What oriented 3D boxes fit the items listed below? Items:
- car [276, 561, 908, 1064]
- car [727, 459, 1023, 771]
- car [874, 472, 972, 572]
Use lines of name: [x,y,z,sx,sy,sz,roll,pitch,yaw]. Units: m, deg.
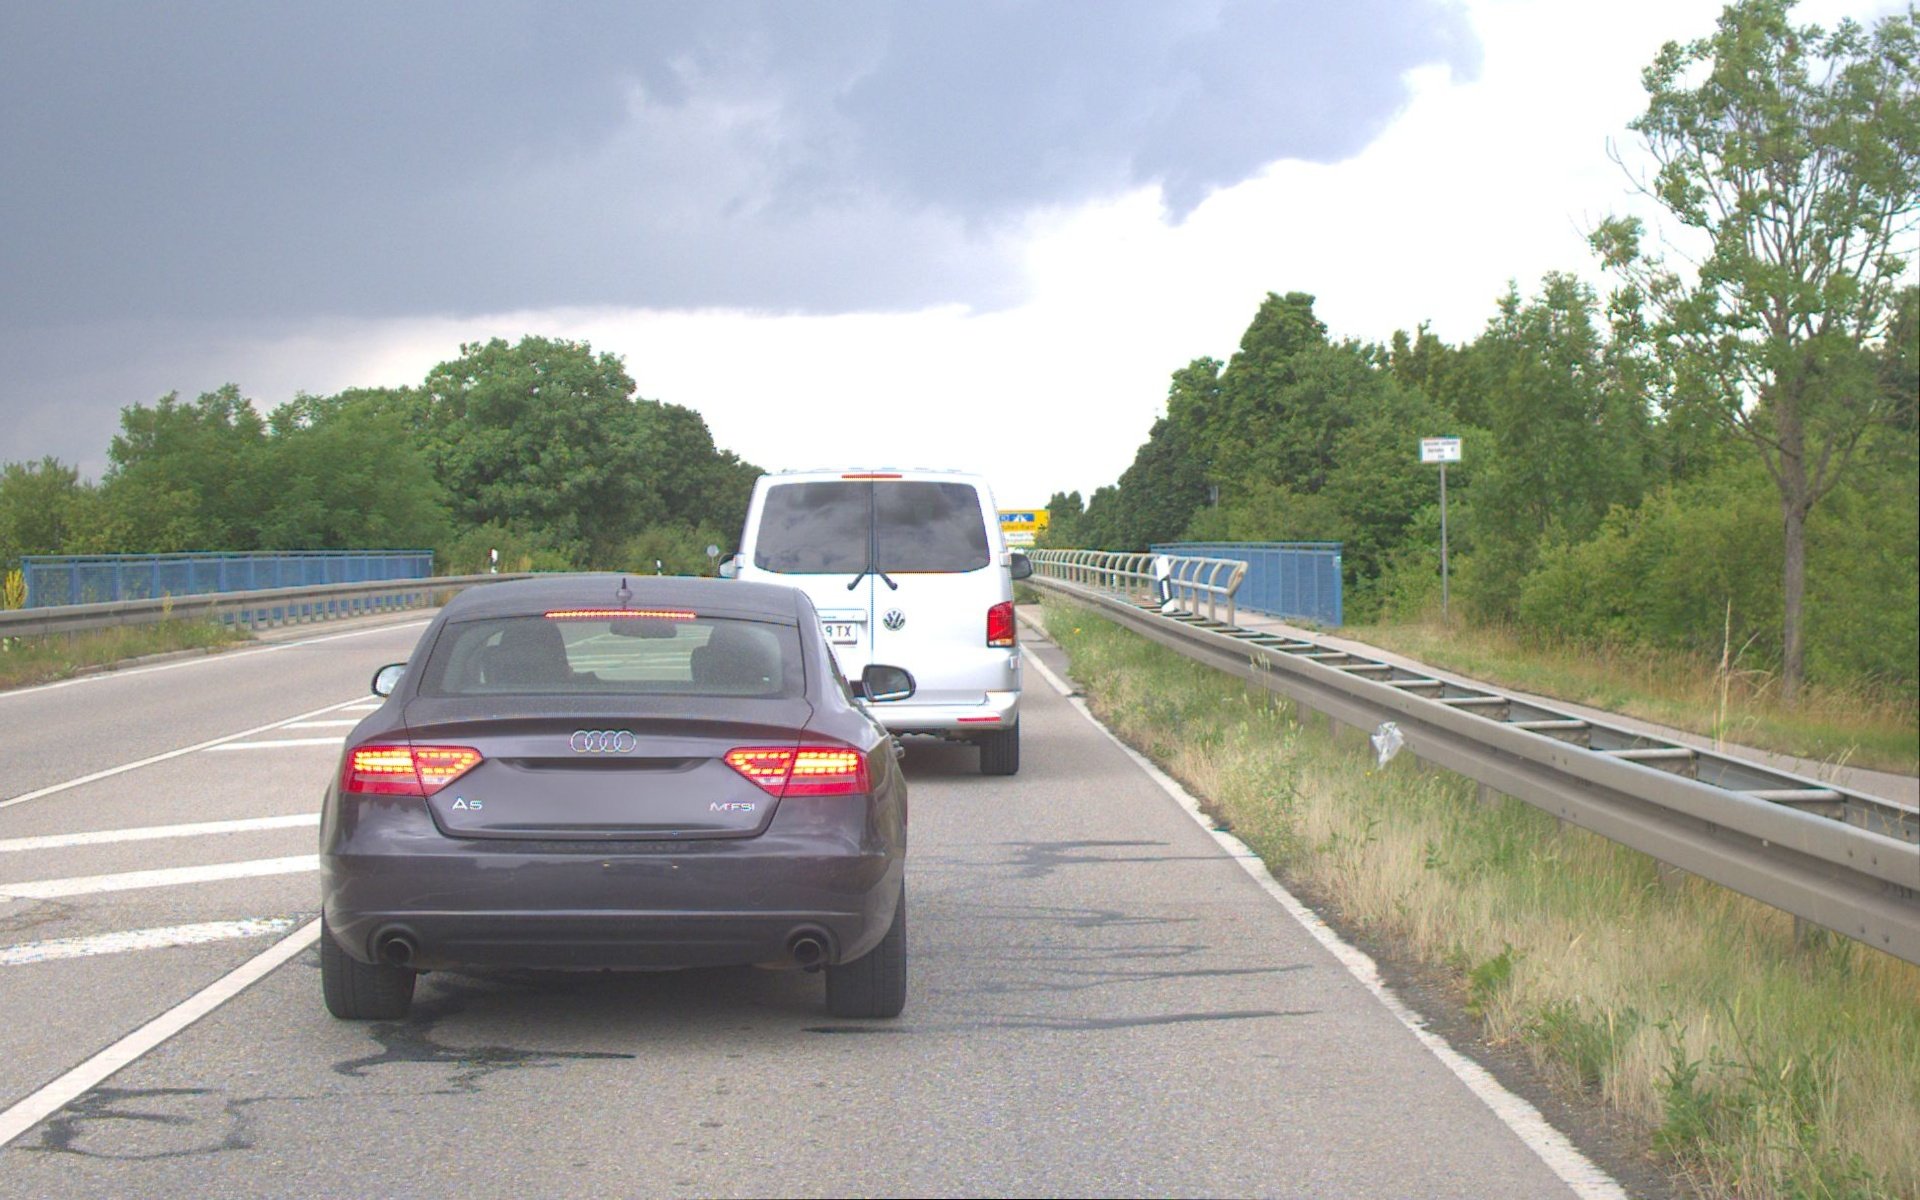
car: [-1.078,0.591,11.800,1.785,1.419,4.000,1,0,-1]
car: [-0.548,0.077,22.946,1.785,1.883,4.000,1,0,-1]
car: [-0.941,-2.007,88.974,2.447,2.495,5.041,1,1,0]
